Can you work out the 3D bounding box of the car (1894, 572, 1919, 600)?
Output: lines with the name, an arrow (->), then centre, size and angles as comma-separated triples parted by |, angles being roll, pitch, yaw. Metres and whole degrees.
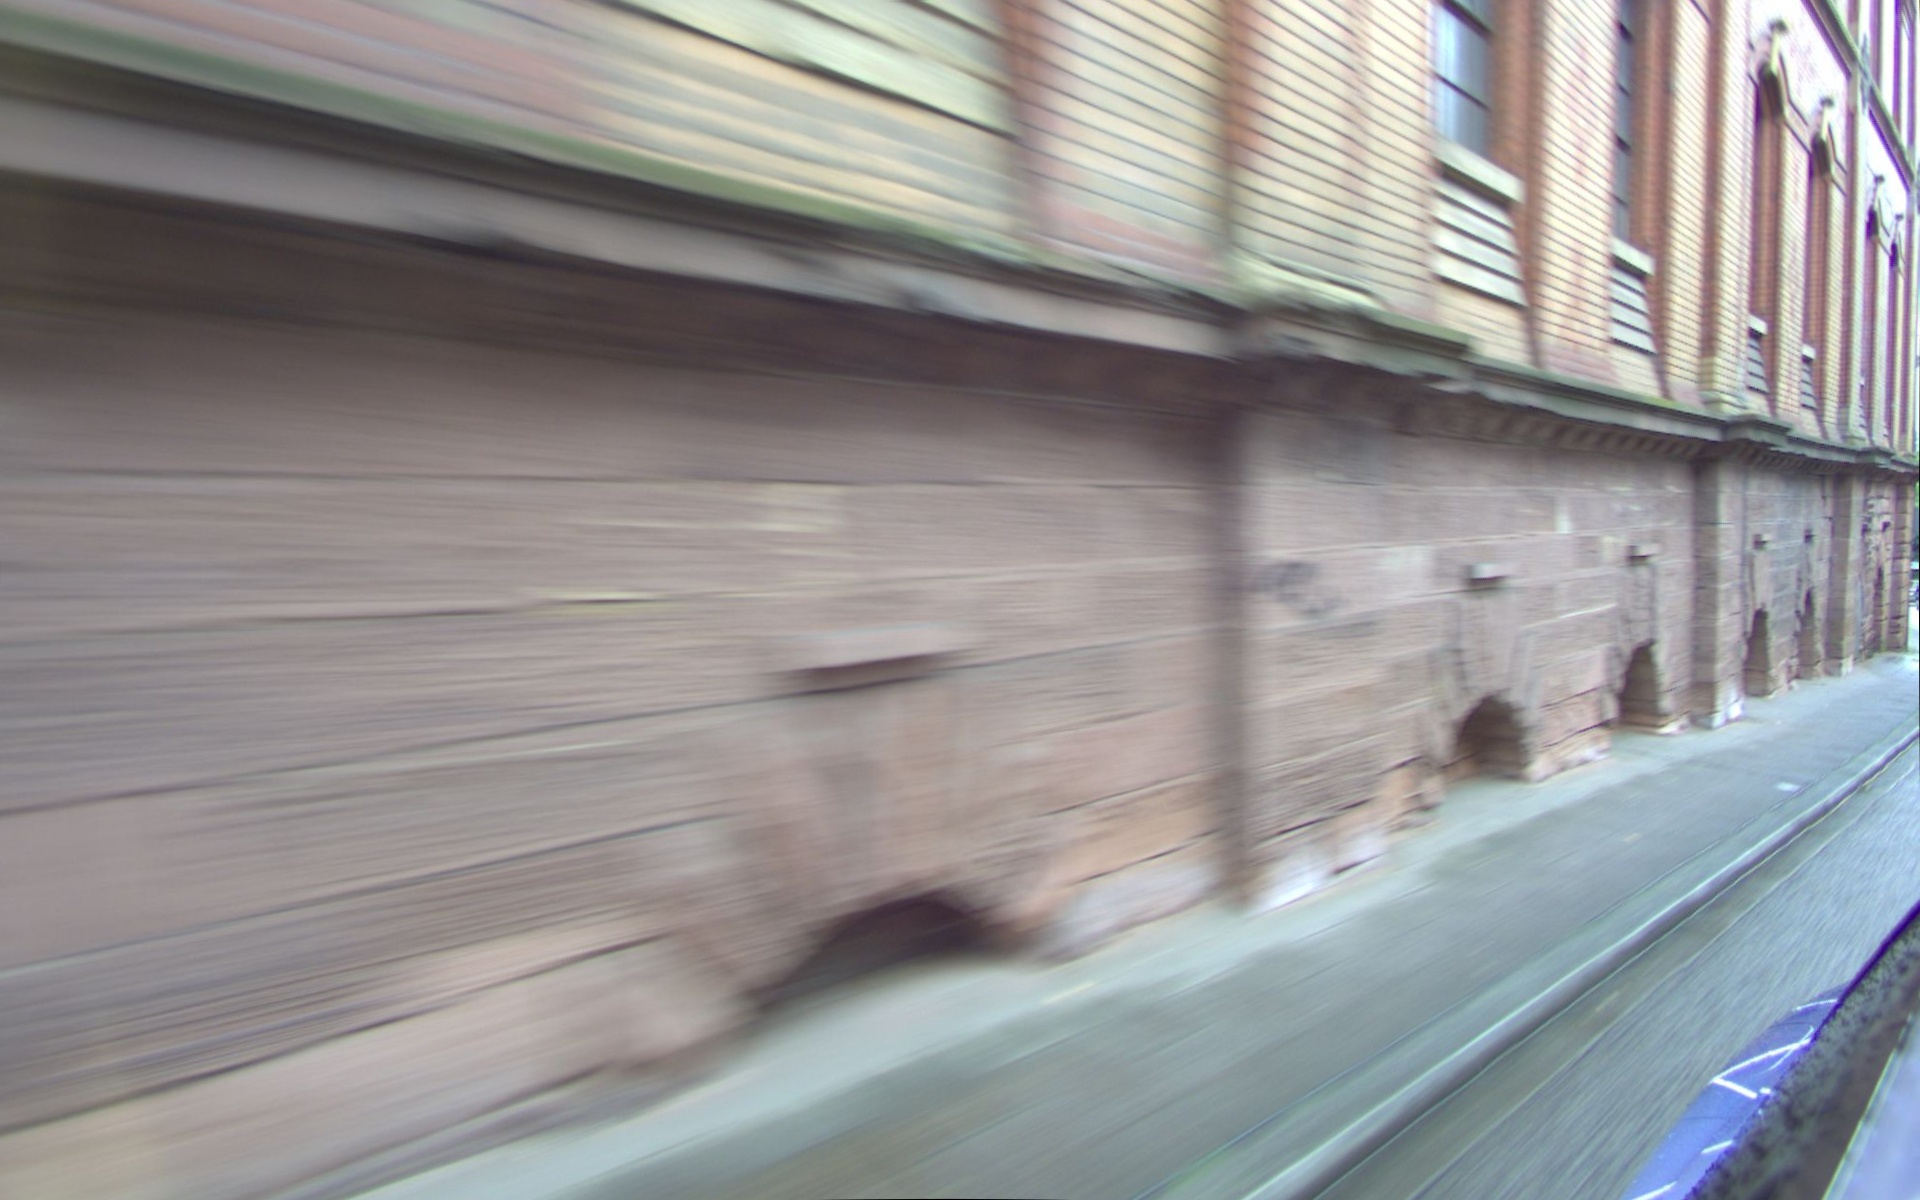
car -> 61.035, -0.917, 64.598 | 1.762, 1.678, 3.932 | 3, 3, 39
